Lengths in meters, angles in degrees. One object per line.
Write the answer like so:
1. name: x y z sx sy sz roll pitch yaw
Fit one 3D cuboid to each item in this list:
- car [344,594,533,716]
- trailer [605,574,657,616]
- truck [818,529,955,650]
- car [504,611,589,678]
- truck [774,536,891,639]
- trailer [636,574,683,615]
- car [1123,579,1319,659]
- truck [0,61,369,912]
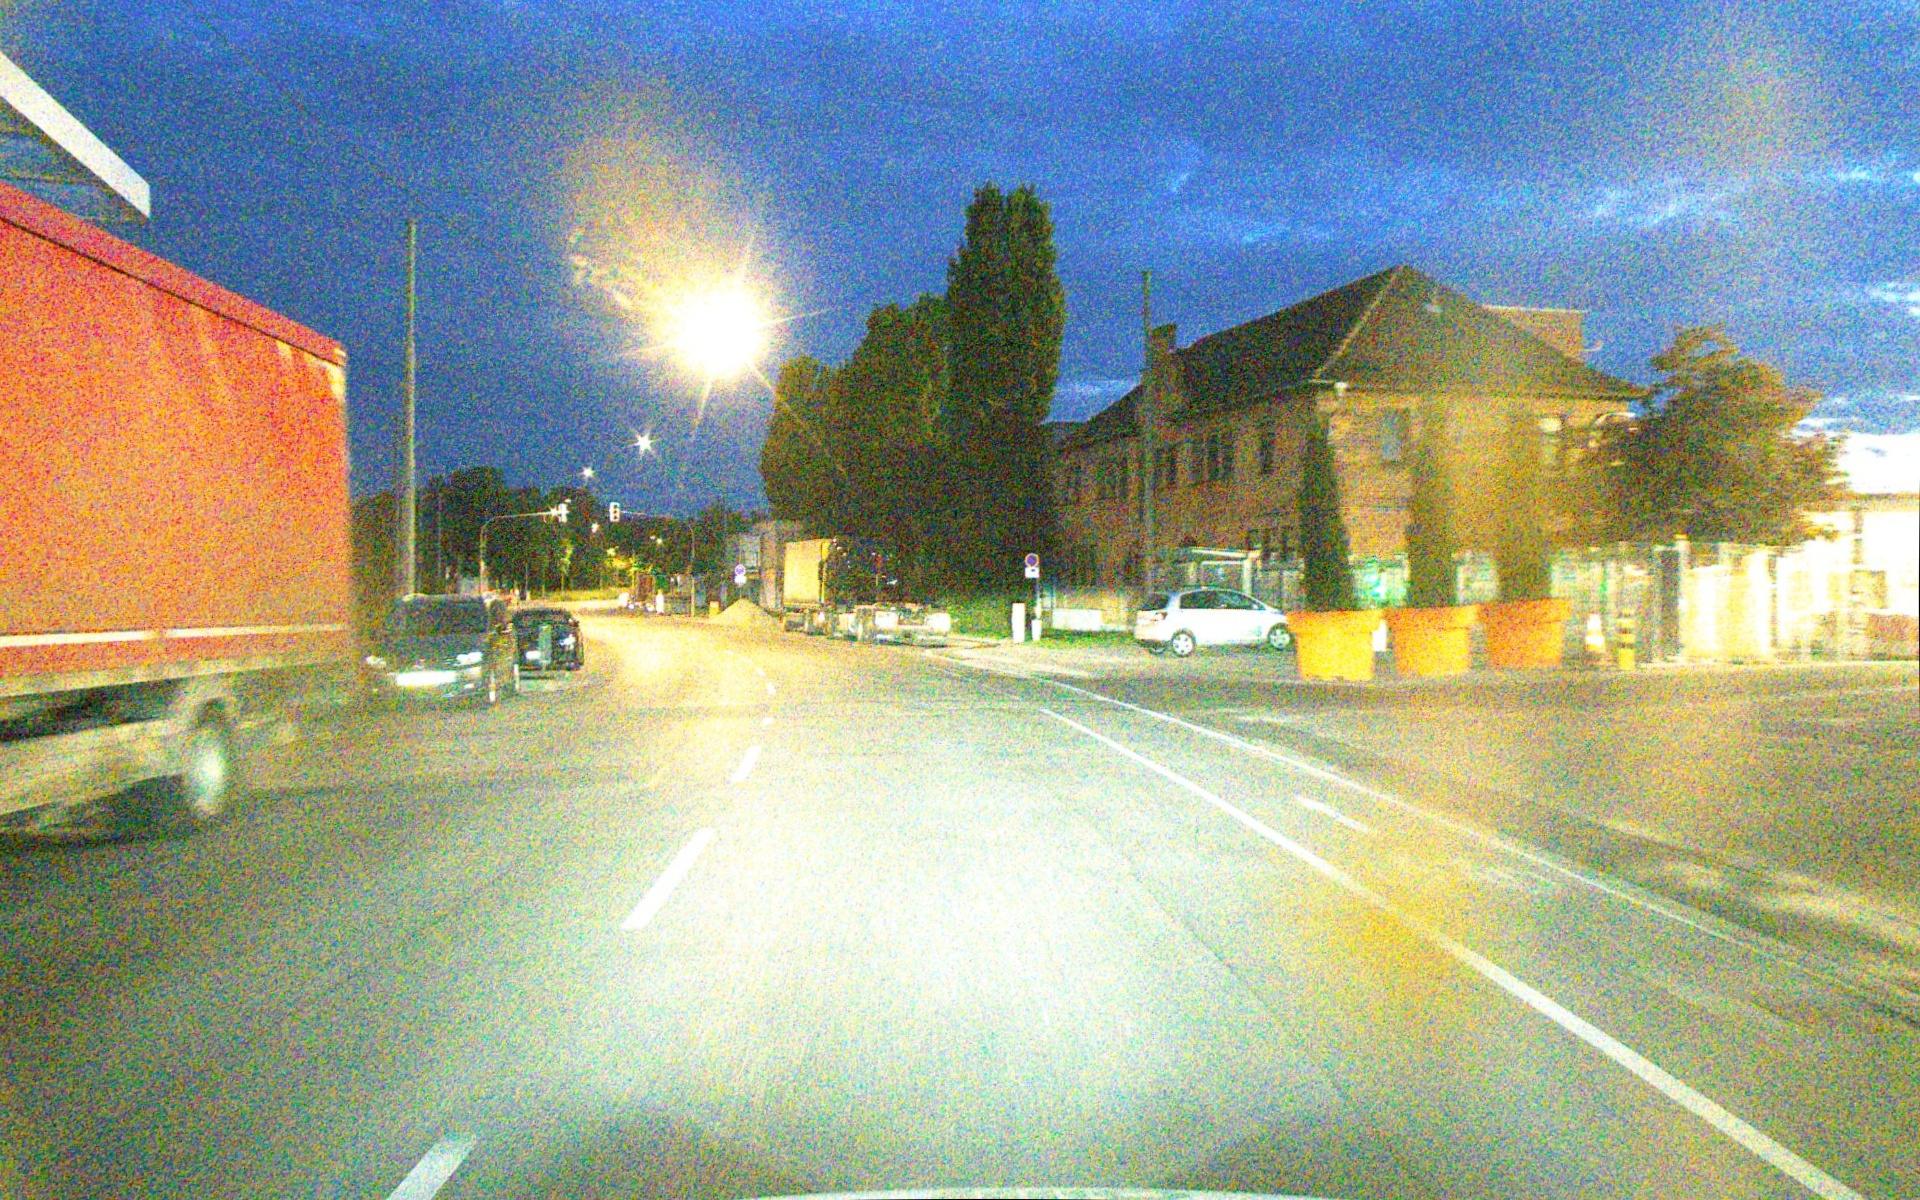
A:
1. car: -7.511 0.722 24.243 1.831 1.621 4.488 0 0 -7
2. trailer: -26.613 -0.357 133.556 3.430 3.276 4.837 1 -1 -20
3. truck: -2.726 -0.321 57.426 2.711 3.849 9.096 0 0 -16
4. car: -9.392 0.961 37.760 1.783 1.395 4.346 0 0 -13
5. truck: -5.353 -0.476 67.323 2.711 3.849 10.178 0 0 -17
6. trailer: -21.793 -0.380 119.933 2.575 2.895 4.682 1 -1 -20
7. car: 6.266 0.429 39.833 4.259 1.675 1.883 -3 1 -18
8. truck: -6.137 -0.557 9.219 2.717 4.192 9.336 0 0 -3
